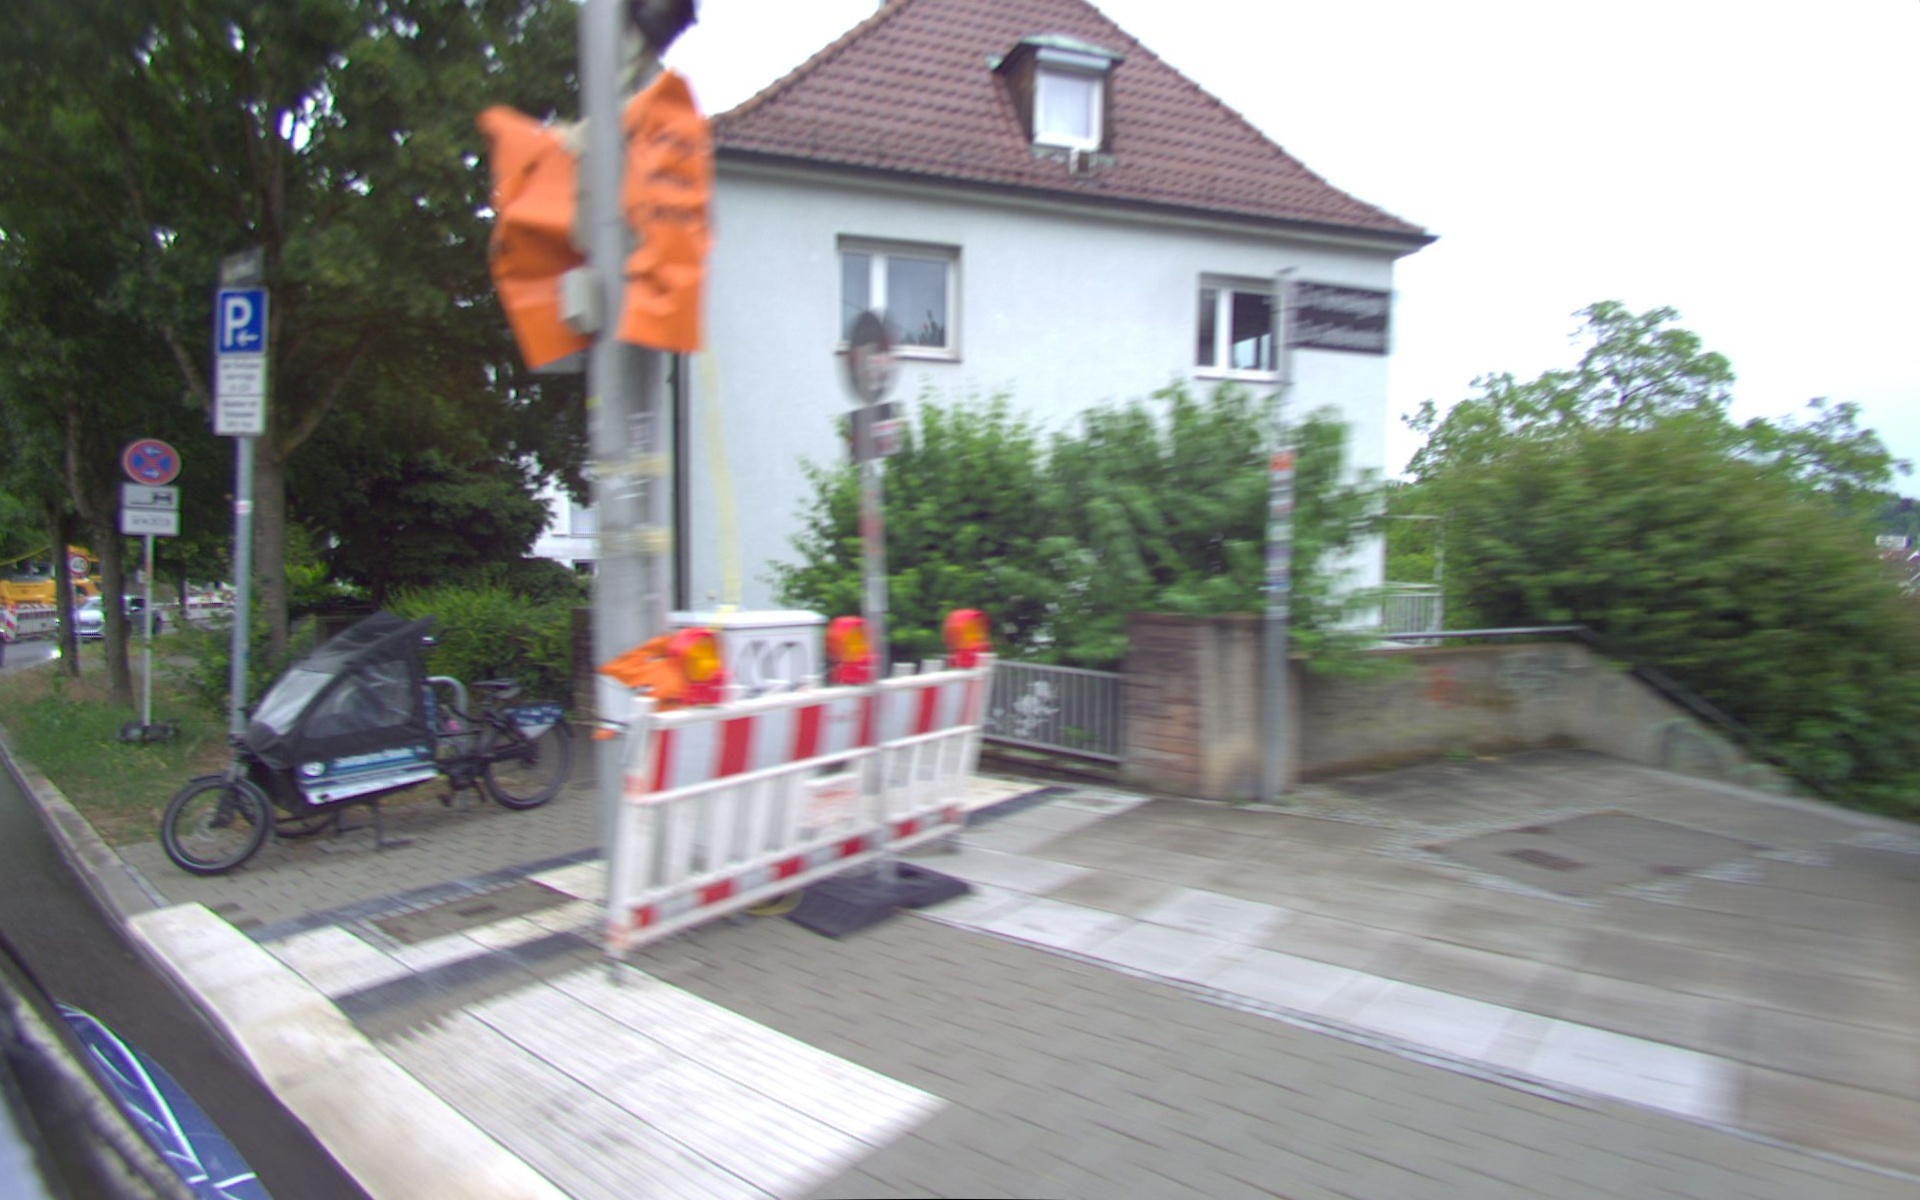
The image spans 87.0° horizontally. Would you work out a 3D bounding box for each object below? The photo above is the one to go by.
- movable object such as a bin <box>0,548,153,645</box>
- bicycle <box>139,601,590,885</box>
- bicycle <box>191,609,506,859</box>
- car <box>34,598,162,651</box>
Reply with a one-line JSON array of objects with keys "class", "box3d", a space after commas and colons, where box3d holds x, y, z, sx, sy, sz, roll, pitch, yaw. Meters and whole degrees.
[{"class": "movable object such as a bin", "box3d": [-39.009, -0.189, 44.073, 3.276, 3.868, 7.223, -1, 1, -14]}, {"class": "bicycle", "box3d": [-3.434, 0.702, 6.090, 0.807, 1.372, 2.210, 0, 0, 34]}, {"class": "bicycle", "box3d": [-3.902, 0.782, 6.602, 0.418, 1.355, 1.676, -3, 1, 35]}, {"class": "car", "box3d": [-31.056, 0.818, 36.642, 1.967, 1.722, 4.589, -1, 1, -19]}]
